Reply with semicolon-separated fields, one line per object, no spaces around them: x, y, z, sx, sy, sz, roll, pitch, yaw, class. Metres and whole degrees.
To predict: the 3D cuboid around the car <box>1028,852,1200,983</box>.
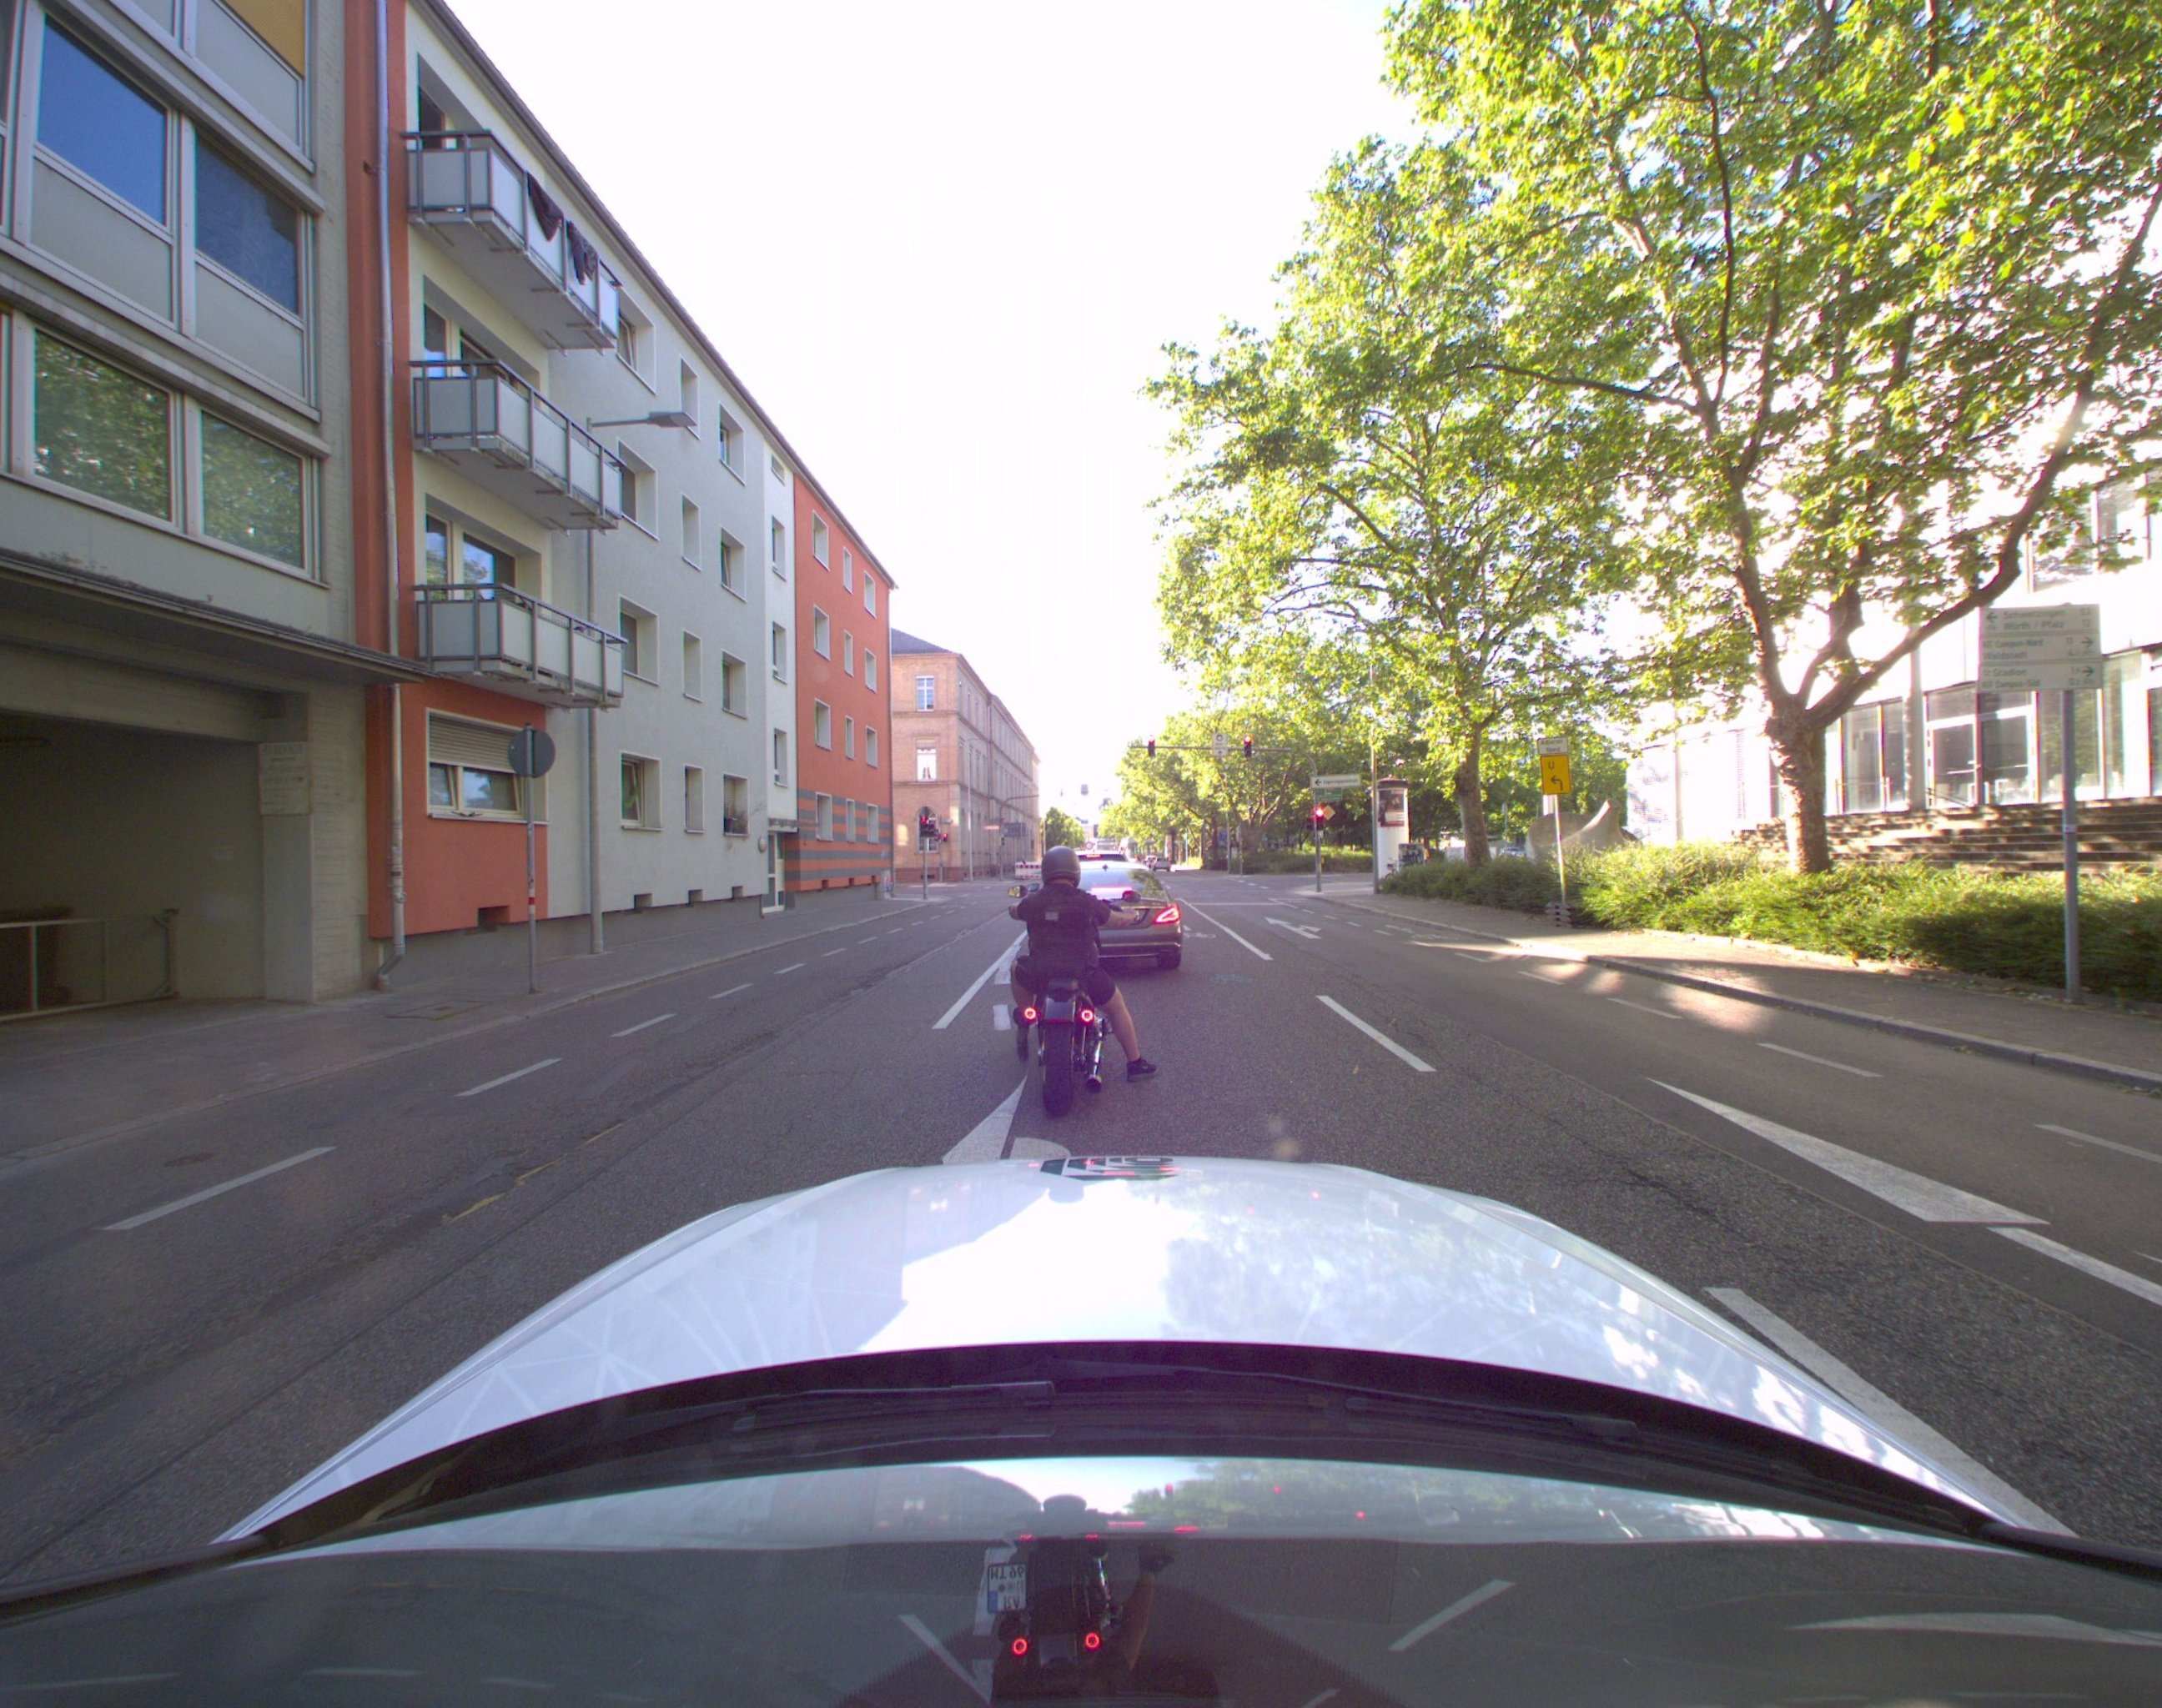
0.257;0.742;11.727;1.943;1.473;4.355;-1;0;-5;car

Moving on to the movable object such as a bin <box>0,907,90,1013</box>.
-11.316;1.112;8.691;0.593;1.041;0.703;0;-1;1;movable object such as a bin

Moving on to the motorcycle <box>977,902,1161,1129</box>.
-0.028;0.959;5.689;0.986;1.078;2.453;-1;0;2;motorcycle

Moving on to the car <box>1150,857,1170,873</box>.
7.946;1.084;82.010;1.814;1.481;3.911;-2;0;3;car

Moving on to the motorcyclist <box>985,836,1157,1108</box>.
-0.036;0.700;5.536;0.986;1.597;1.404;-1;0;2;motorcyclist

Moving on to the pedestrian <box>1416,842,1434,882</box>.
15.965;0.380;37.777;0.549;1.849;0.594;-1;0;3;pedestrian

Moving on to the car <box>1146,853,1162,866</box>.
8.921;0.678;99.327;1.848;1.486;3.912;0;-1;3;car

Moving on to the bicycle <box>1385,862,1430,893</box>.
11.040;0.793;27.523;1.346;1.023;0.363;-1;0;2;bicycle

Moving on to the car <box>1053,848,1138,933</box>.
0.321;0.705;17.897;1.606;1.607;4.329;-1;0;1;car
